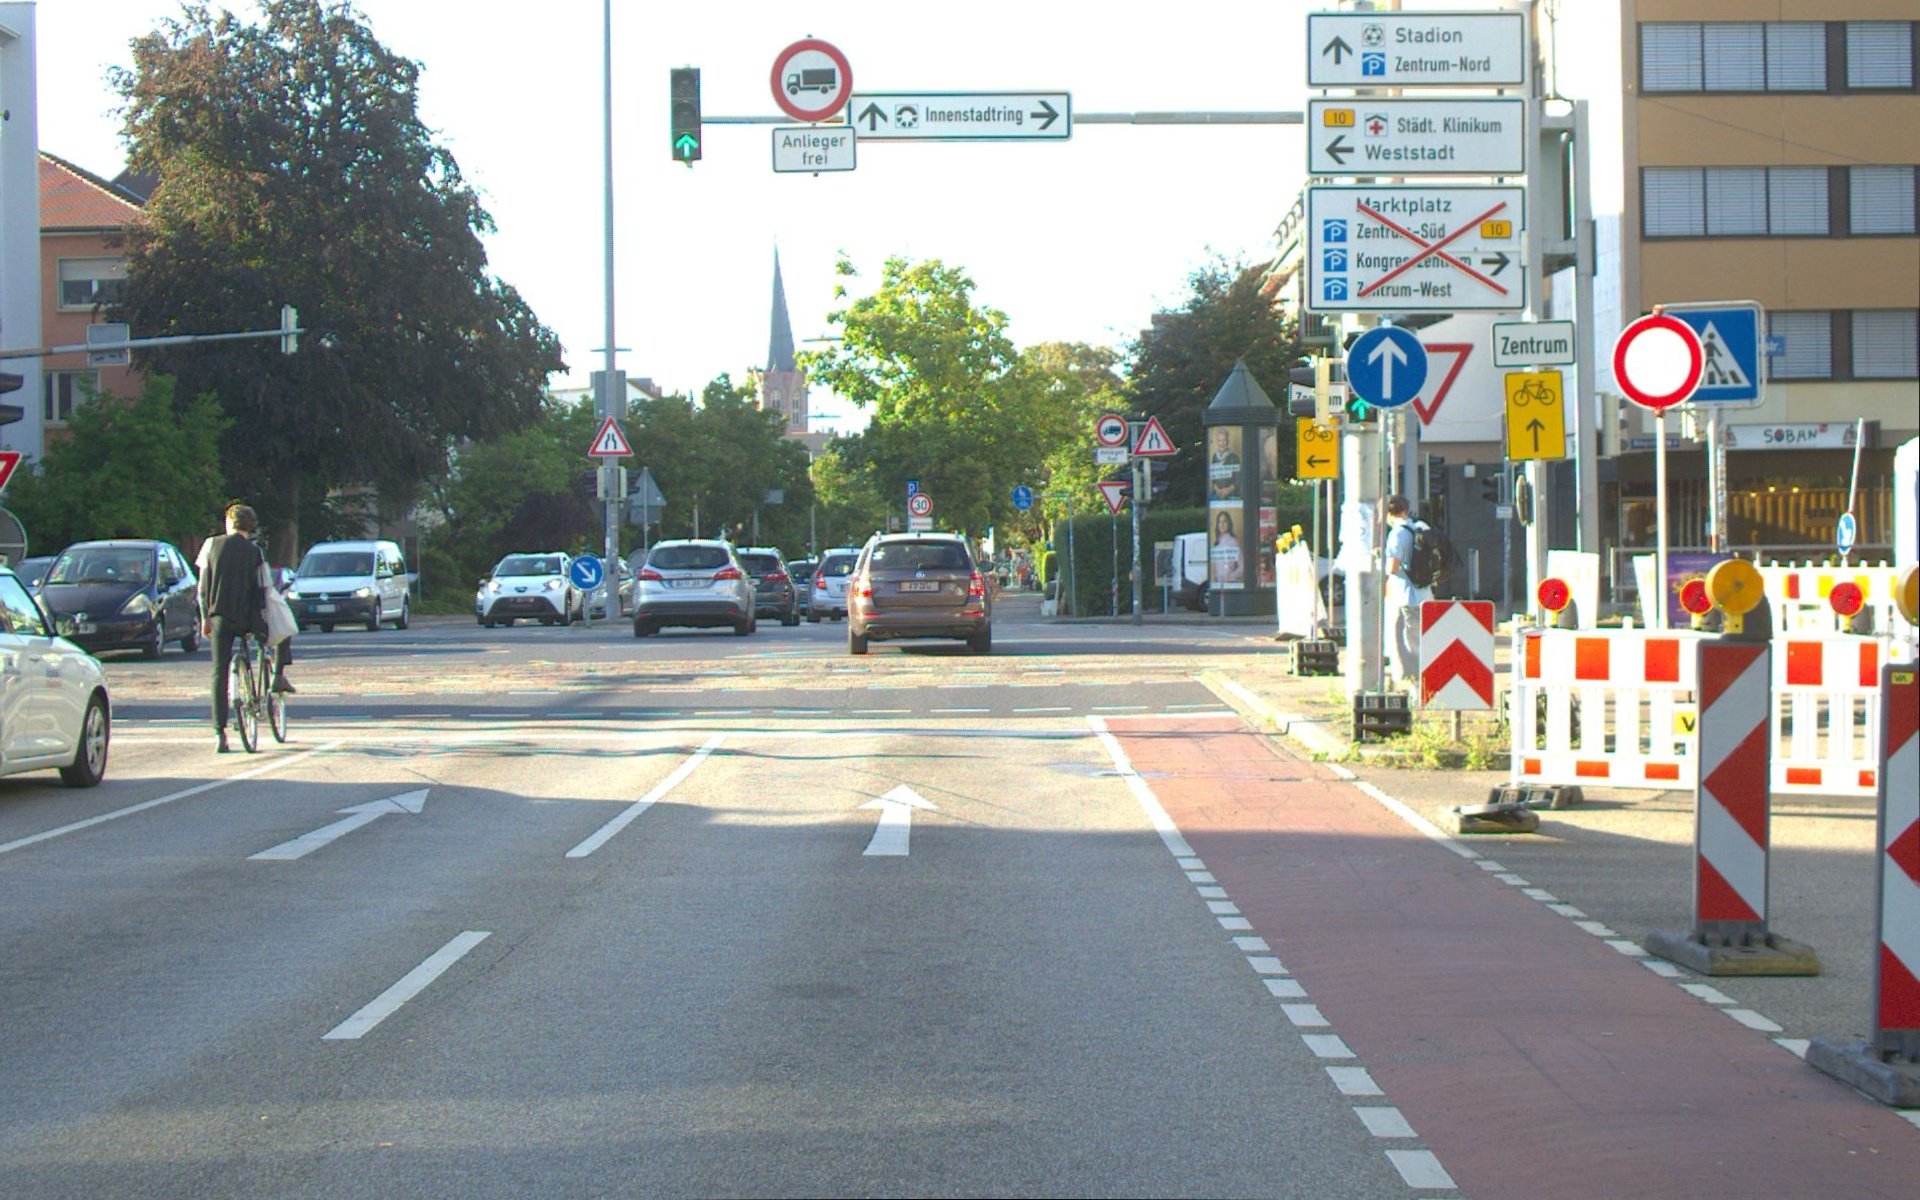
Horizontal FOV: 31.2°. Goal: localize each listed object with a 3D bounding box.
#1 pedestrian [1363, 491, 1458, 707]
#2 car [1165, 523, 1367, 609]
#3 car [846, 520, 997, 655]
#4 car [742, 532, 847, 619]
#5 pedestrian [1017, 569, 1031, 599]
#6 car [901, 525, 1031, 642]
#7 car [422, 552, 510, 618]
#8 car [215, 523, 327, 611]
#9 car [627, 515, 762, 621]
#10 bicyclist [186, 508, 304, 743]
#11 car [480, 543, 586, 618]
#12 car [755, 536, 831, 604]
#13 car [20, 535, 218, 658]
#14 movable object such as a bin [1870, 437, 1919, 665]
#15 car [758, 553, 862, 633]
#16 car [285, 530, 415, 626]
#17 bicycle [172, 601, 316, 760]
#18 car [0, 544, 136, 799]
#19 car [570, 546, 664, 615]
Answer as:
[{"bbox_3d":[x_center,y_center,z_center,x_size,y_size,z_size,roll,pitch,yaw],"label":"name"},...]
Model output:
[{"bbox_3d":[3.812,-0.012,29.043,0.741,1.793,0.715,-1,1,10],"label":"pedestrian"},{"bbox_3d":[6.980,-0.792,78.717,4.363,1.871,2.000,-1,1,-1],"label":"car"},{"bbox_3d":[-0.439,-0.188,42.538,1.748,1.559,4.050,-1,1,0],"label":"car"},{"bbox_3d":[-3.109,-0.490,65.212,1.748,1.559,4.050,-1,1,0],"label":"car"},{"bbox_3d":[3.671,-0.930,198.149,0.766,1.678,0.999,-1,1,-1],"label":"pedestrian"},{"bbox_3d":[0.051,-0.274,51.039,1.819,1.634,4.000,-1,1,-1],"label":"car"},{"bbox_3d":[-12.893,-0.413,89.864,1.880,1.648,4.050,-1,1,-3],"label":"car"},{"bbox_3d":[-14.803,-0.732,74.038,1.748,1.805,4.050,-1,1,-3],"label":"car"},{"bbox_3d":[-4.098,-0.513,53.616,1.748,1.559,4.050,-1,1,0],"label":"car"},{"bbox_3d":[-5.360,0.180,25.816,0.691,1.722,0.988,-1,1,-3],"label":"bicyclist"},{"bbox_3d":[-8.752,-0.426,70.700,1.847,1.456,4.050,-1,1,-3],"label":"car"},{"bbox_3d":[-4.237,-0.774,87.650,1.664,1.652,4.000,-1,1,1],"label":"car"},{"bbox_3d":[-10.807,-0.078,44.415,1.658,1.489,4.000,-1,1,-2],"label":"car"},{"bbox_3d":[11.584,-0.553,36.625,3.328,2.375,1.529,-1,1,-1],"label":"movable object such as a bin"},{"bbox_3d":[-3.077,-0.123,71.125,1.993,1.503,4.000,-2,-1,-1],"label":"car"},{"bbox_3d":[-12.025,-0.467,67.987,1.915,1.805,4.718,-1,1,-3],"label":"car"},{"bbox_3d":[-5.351,0.576,25.820,0.699,1.096,2.258,-1,1,-3],"label":"bicycle"},{"bbox_3d":[-6.342,0.398,20.844,1.685,1.452,4.000,0,1,1],"label":"car"},{"bbox_3d":[-7.637,-0.461,76.812,1.847,1.456,4.050,-1,1,-3],"label":"car"}]
